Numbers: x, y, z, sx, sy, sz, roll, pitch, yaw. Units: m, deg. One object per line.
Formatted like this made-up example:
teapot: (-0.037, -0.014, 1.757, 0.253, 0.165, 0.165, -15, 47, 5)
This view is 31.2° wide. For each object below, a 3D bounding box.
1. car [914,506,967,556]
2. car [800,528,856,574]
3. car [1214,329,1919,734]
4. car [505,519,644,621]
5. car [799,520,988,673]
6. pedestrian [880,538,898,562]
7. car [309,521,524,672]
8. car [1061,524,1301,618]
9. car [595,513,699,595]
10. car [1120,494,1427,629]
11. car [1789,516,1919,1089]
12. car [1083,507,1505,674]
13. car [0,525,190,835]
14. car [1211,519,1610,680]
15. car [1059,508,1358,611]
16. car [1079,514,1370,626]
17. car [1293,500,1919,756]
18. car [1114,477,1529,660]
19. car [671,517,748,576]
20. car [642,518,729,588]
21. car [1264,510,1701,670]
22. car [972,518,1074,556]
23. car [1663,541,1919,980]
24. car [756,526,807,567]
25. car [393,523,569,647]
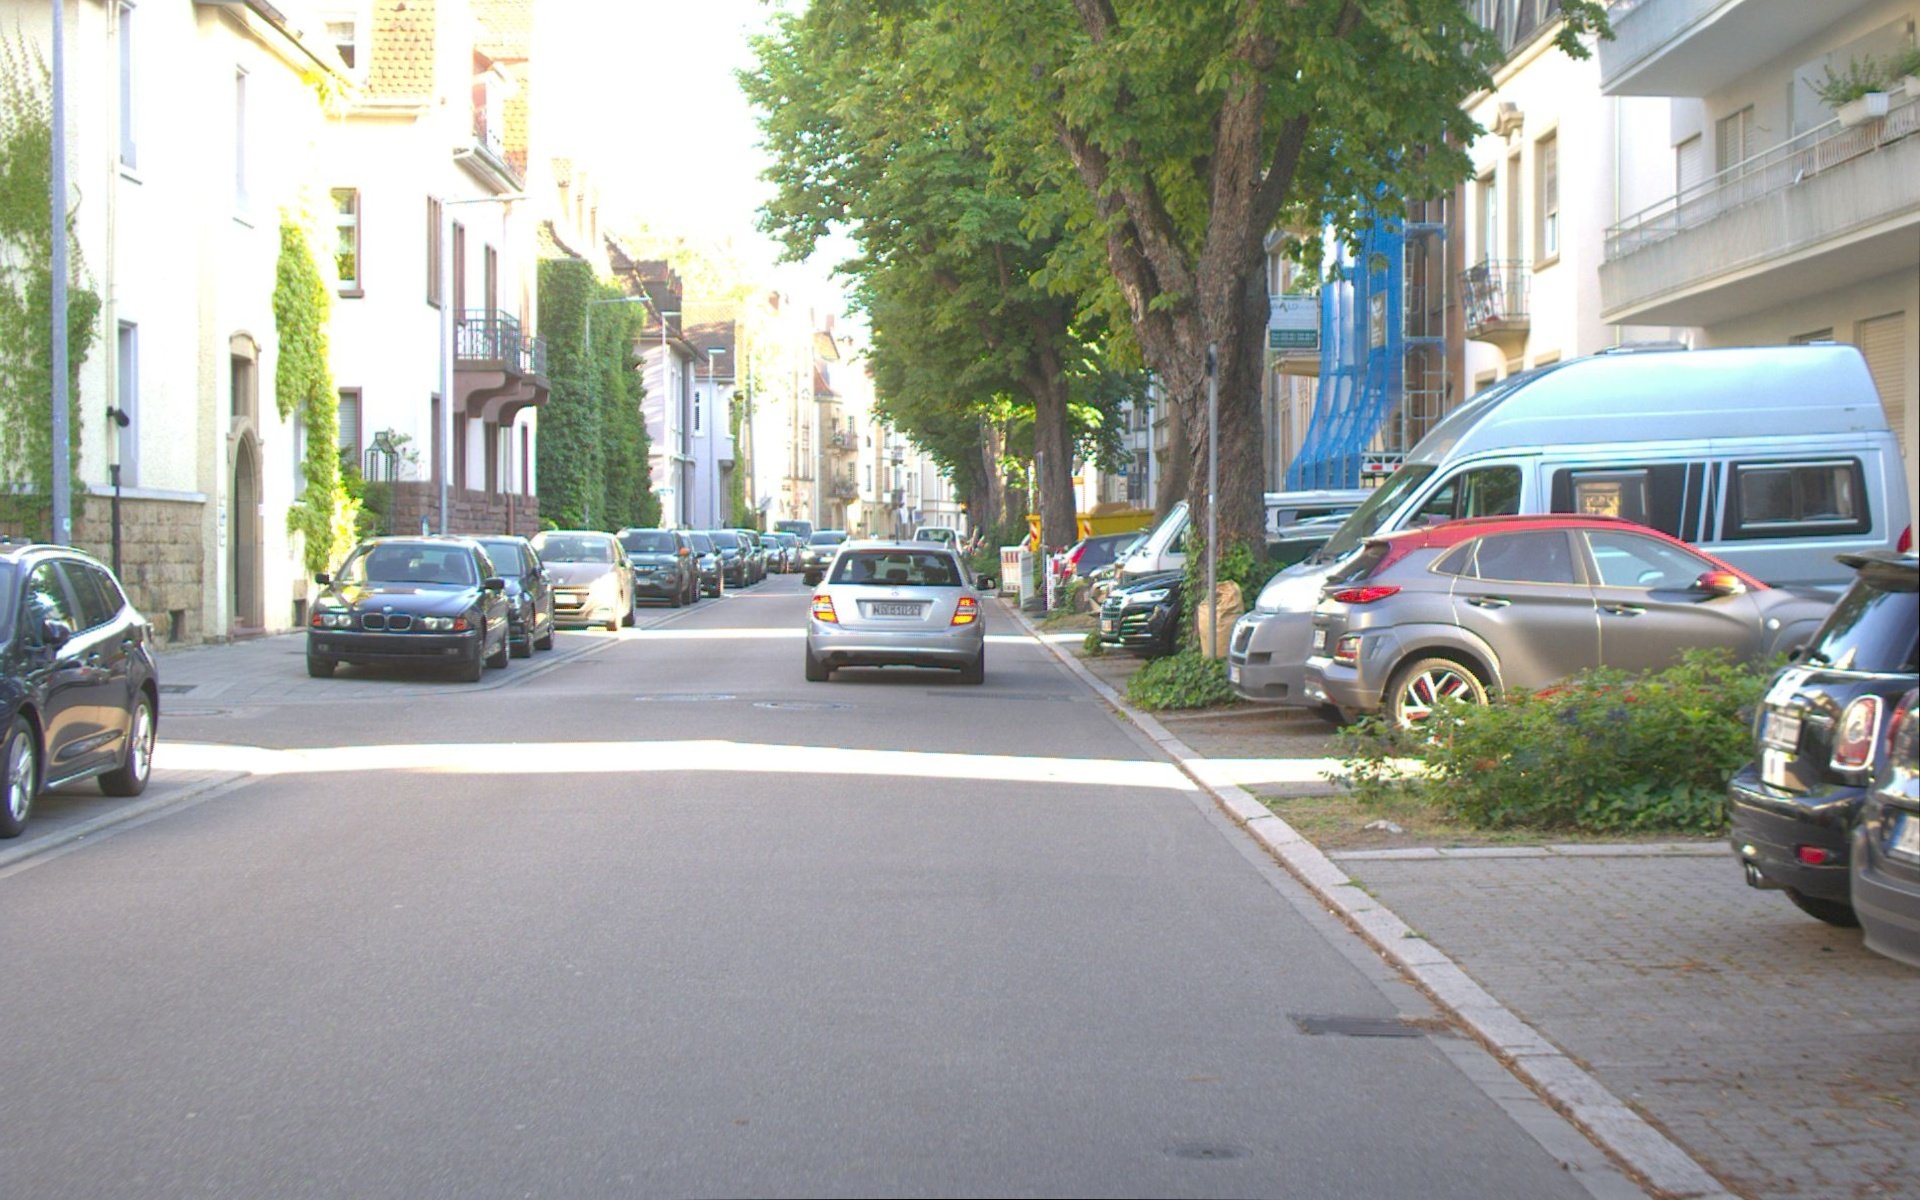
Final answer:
car: (-0.603, -2.193, 108.881, 1.623, 1.564, 3.680, 0, 1, 0)
car: (-4.335, -1.637, 113.417, 1.772, 1.443, 4.001, 0, 2, -1)
car: (4.586, -0.529, 26.064, 5.094, 2.892, 2.076, -1, 1, -2)
car: (-5.804, -0.482, 52.065, 1.653, 1.442, 4.005, 1, 1, 0)
car: (-0.636, -0.052, 34.782, 1.784, 1.432, 3.851, 1, 1, 0)
pedestrian: (-5.217, -3.704, 252.876, 1.221, 1.716, 1.503, 1, 1, 3)
car: (-5.726, -0.090, 36.671, 1.709, 1.465, 4.634, 1, 1, -2)
car: (3.745, -0.508, 58.740, 3.987, 1.487, 1.851, -2, 1, 1)
car: (-5.989, -0.900, 66.023, 1.653, 1.480, 3.764, 1, 1, 0)
car: (4.118, -0.521, 45.575, 3.949, 1.677, 1.705, -1, 2, 3)
car: (4.702, 0.521, 9.630, 4.300, 1.535, 1.759, 0, 1, -3)
car: (3.511, -0.117, 36.521, 4.174, 1.717, 1.766, 0, 1, -8)
car: (-5.429, 0.340, 18.250, 1.653, 1.449, 4.631, 1, 1, 0)
car: (4.445, -0.016, 34.247, 3.720, 1.549, 1.639, 0, 1, -2)
car: (4.028, -0.670, 56.342, 4.718, 1.530, 1.851, -2, 1, 0)
car: (3.908, -0.461, 51.315, 4.155, 1.534, 1.851, -2, 1, 0)
car: (4.477, 0.160, 23.311, 4.188, 1.563, 1.759, -2, 1, -2)
car: (4.065, -0.367, 39.181, 4.469, 2.007, 1.896, 0, 1, -2)
car: (-6.390, -1.385, 87.980, 1.649, 1.416, 4.099, 1, 1, 0)
car: (-6.078, -1.070, 76.548, 1.792, 1.456, 4.778, 1, 1, -3)
car: (4.769, -0.089, 31.728, 3.720, 1.426, 1.759, 0, 0, -2)
car: (2.662, -2.624, 144.025, 4.190, 1.470, 1.851, -2, 1, 2)
car: (4.404, 0.496, 12.273, 3.402, 1.422, 1.759, -1, 1, 0)
car: (-6.566, -1.992, 126.766, 1.653, 1.440, 3.960, 1, 1, 0)
car: (-5.855, -0.224, 42.386, 1.653, 1.410, 4.168, 1, 1, -1)
